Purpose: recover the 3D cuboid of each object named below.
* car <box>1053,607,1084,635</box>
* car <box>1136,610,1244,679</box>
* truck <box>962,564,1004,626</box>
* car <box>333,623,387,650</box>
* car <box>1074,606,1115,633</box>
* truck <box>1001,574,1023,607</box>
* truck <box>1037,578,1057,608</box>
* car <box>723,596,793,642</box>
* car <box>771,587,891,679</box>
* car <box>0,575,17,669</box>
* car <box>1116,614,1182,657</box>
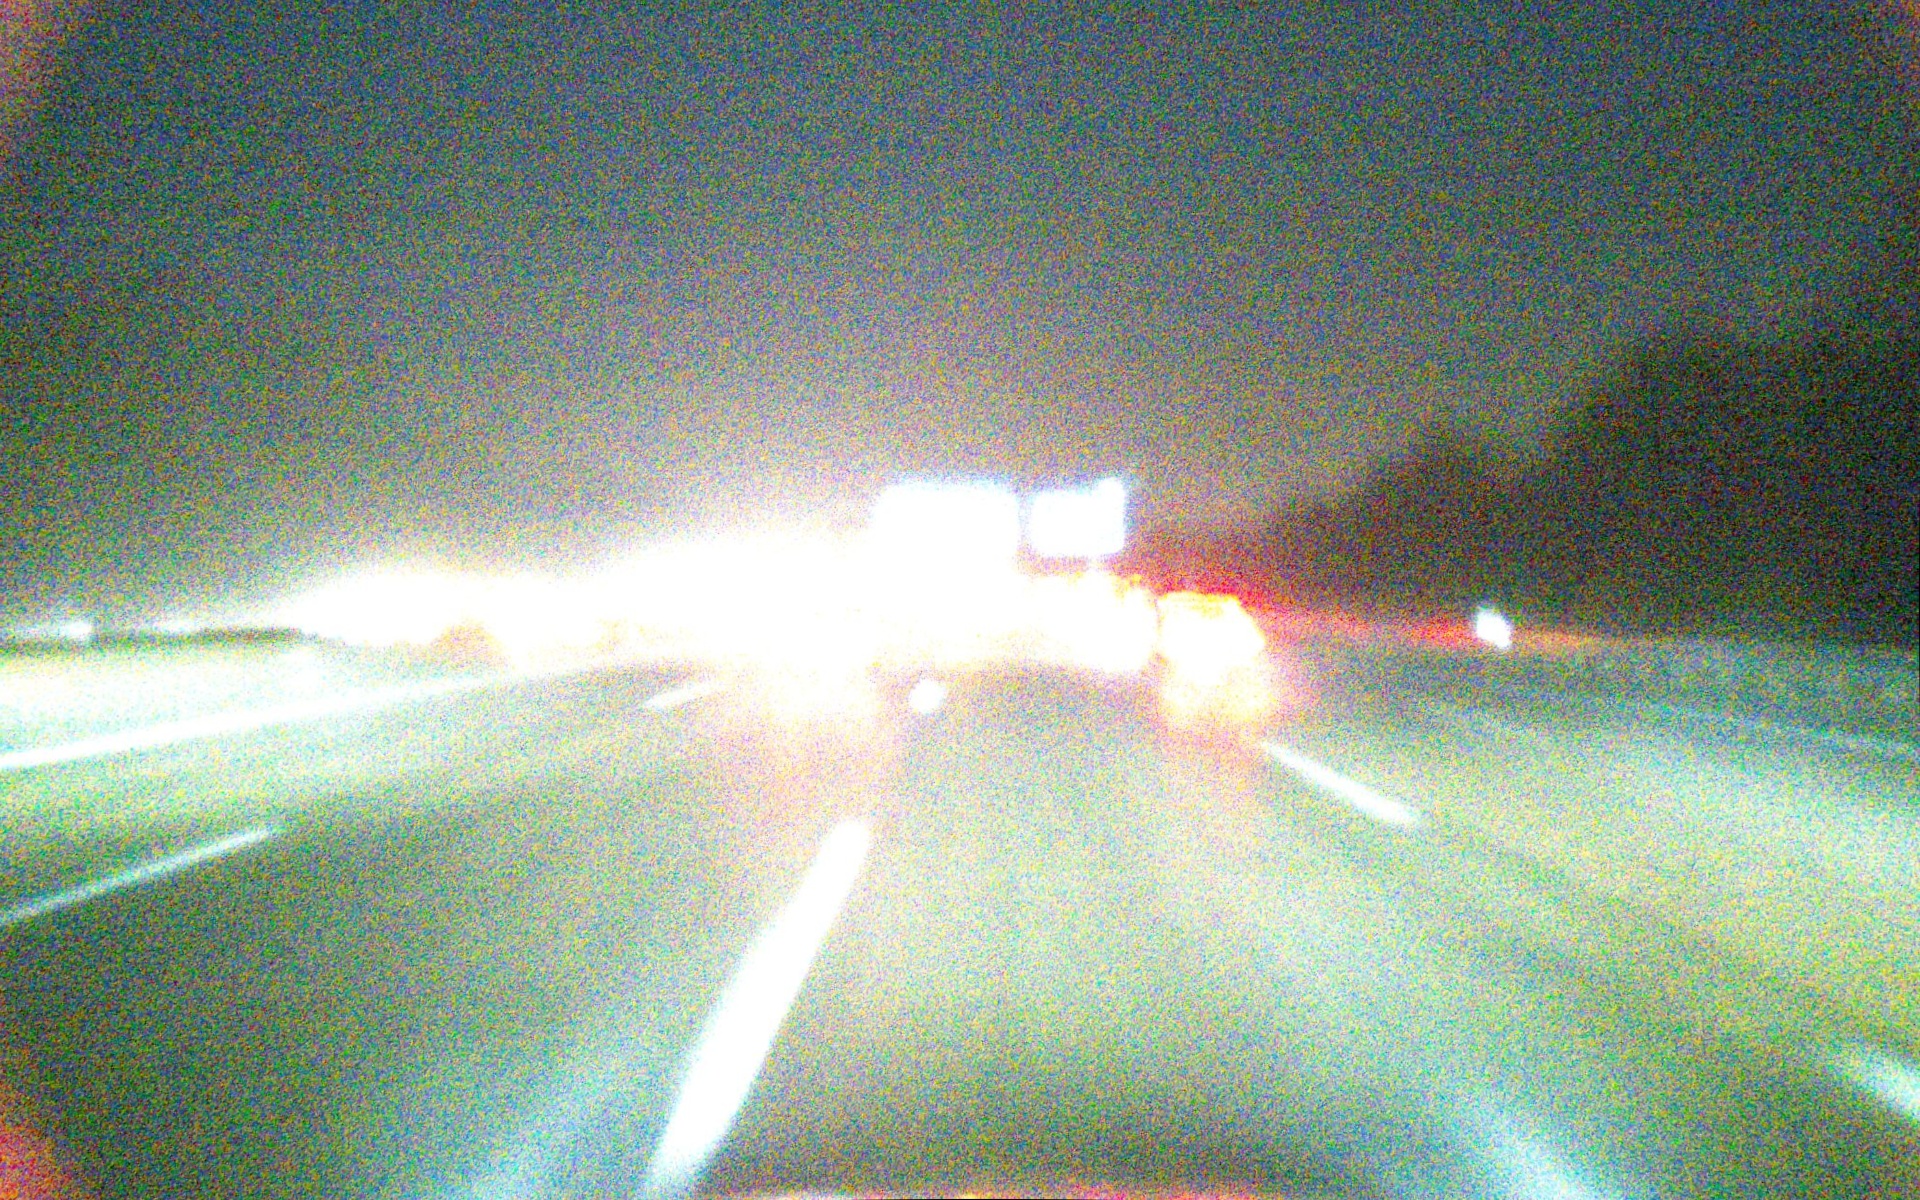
[{"bbox_3d":[6.687,1.293,102.150,1.824,1.646,4.001,1,0,2],"label":"car"},{"bbox_3d":[4.464,0.845,32.436,1.549,1.268,3.067,1,0,-3],"label":"car"},{"bbox_3d":[1.246,-0.214,88.348,1.952,3.096,6.466,-2,-1,2],"label":"truck"},{"bbox_3d":[-31.842,1.936,87.831,1.455,1.307,3.555,1,0,1],"label":"car"},{"bbox_3d":[6.479,0.940,79.925,1.549,1.268,3.067,1,0,-3],"label":"car"},{"bbox_3d":[5.122,-0.891,161.458,1.952,3.096,6.466,-2,-1,2],"label":"truck"},{"bbox_3d":[9.481,-0.734,181.131,1.952,3.096,6.466,-2,-1,2],"label":"truck"},{"bbox_3d":[-6.025,0.568,49.643,1.628,1.258,3.760,-2,-1,-1],"label":"car"},{"bbox_3d":[-2.236,0.535,29.590,1.764,1.513,4.000,1,0,1],"label":"car"},{"bbox_3d":[-17.530,0.384,26.792,1.633,1.625,4.890,-2,-1,1],"label":"car"},{"bbox_3d":[5.806,1.076,51.052,1.549,1.268,3.067,1,0,-3],"label":"car"}]
